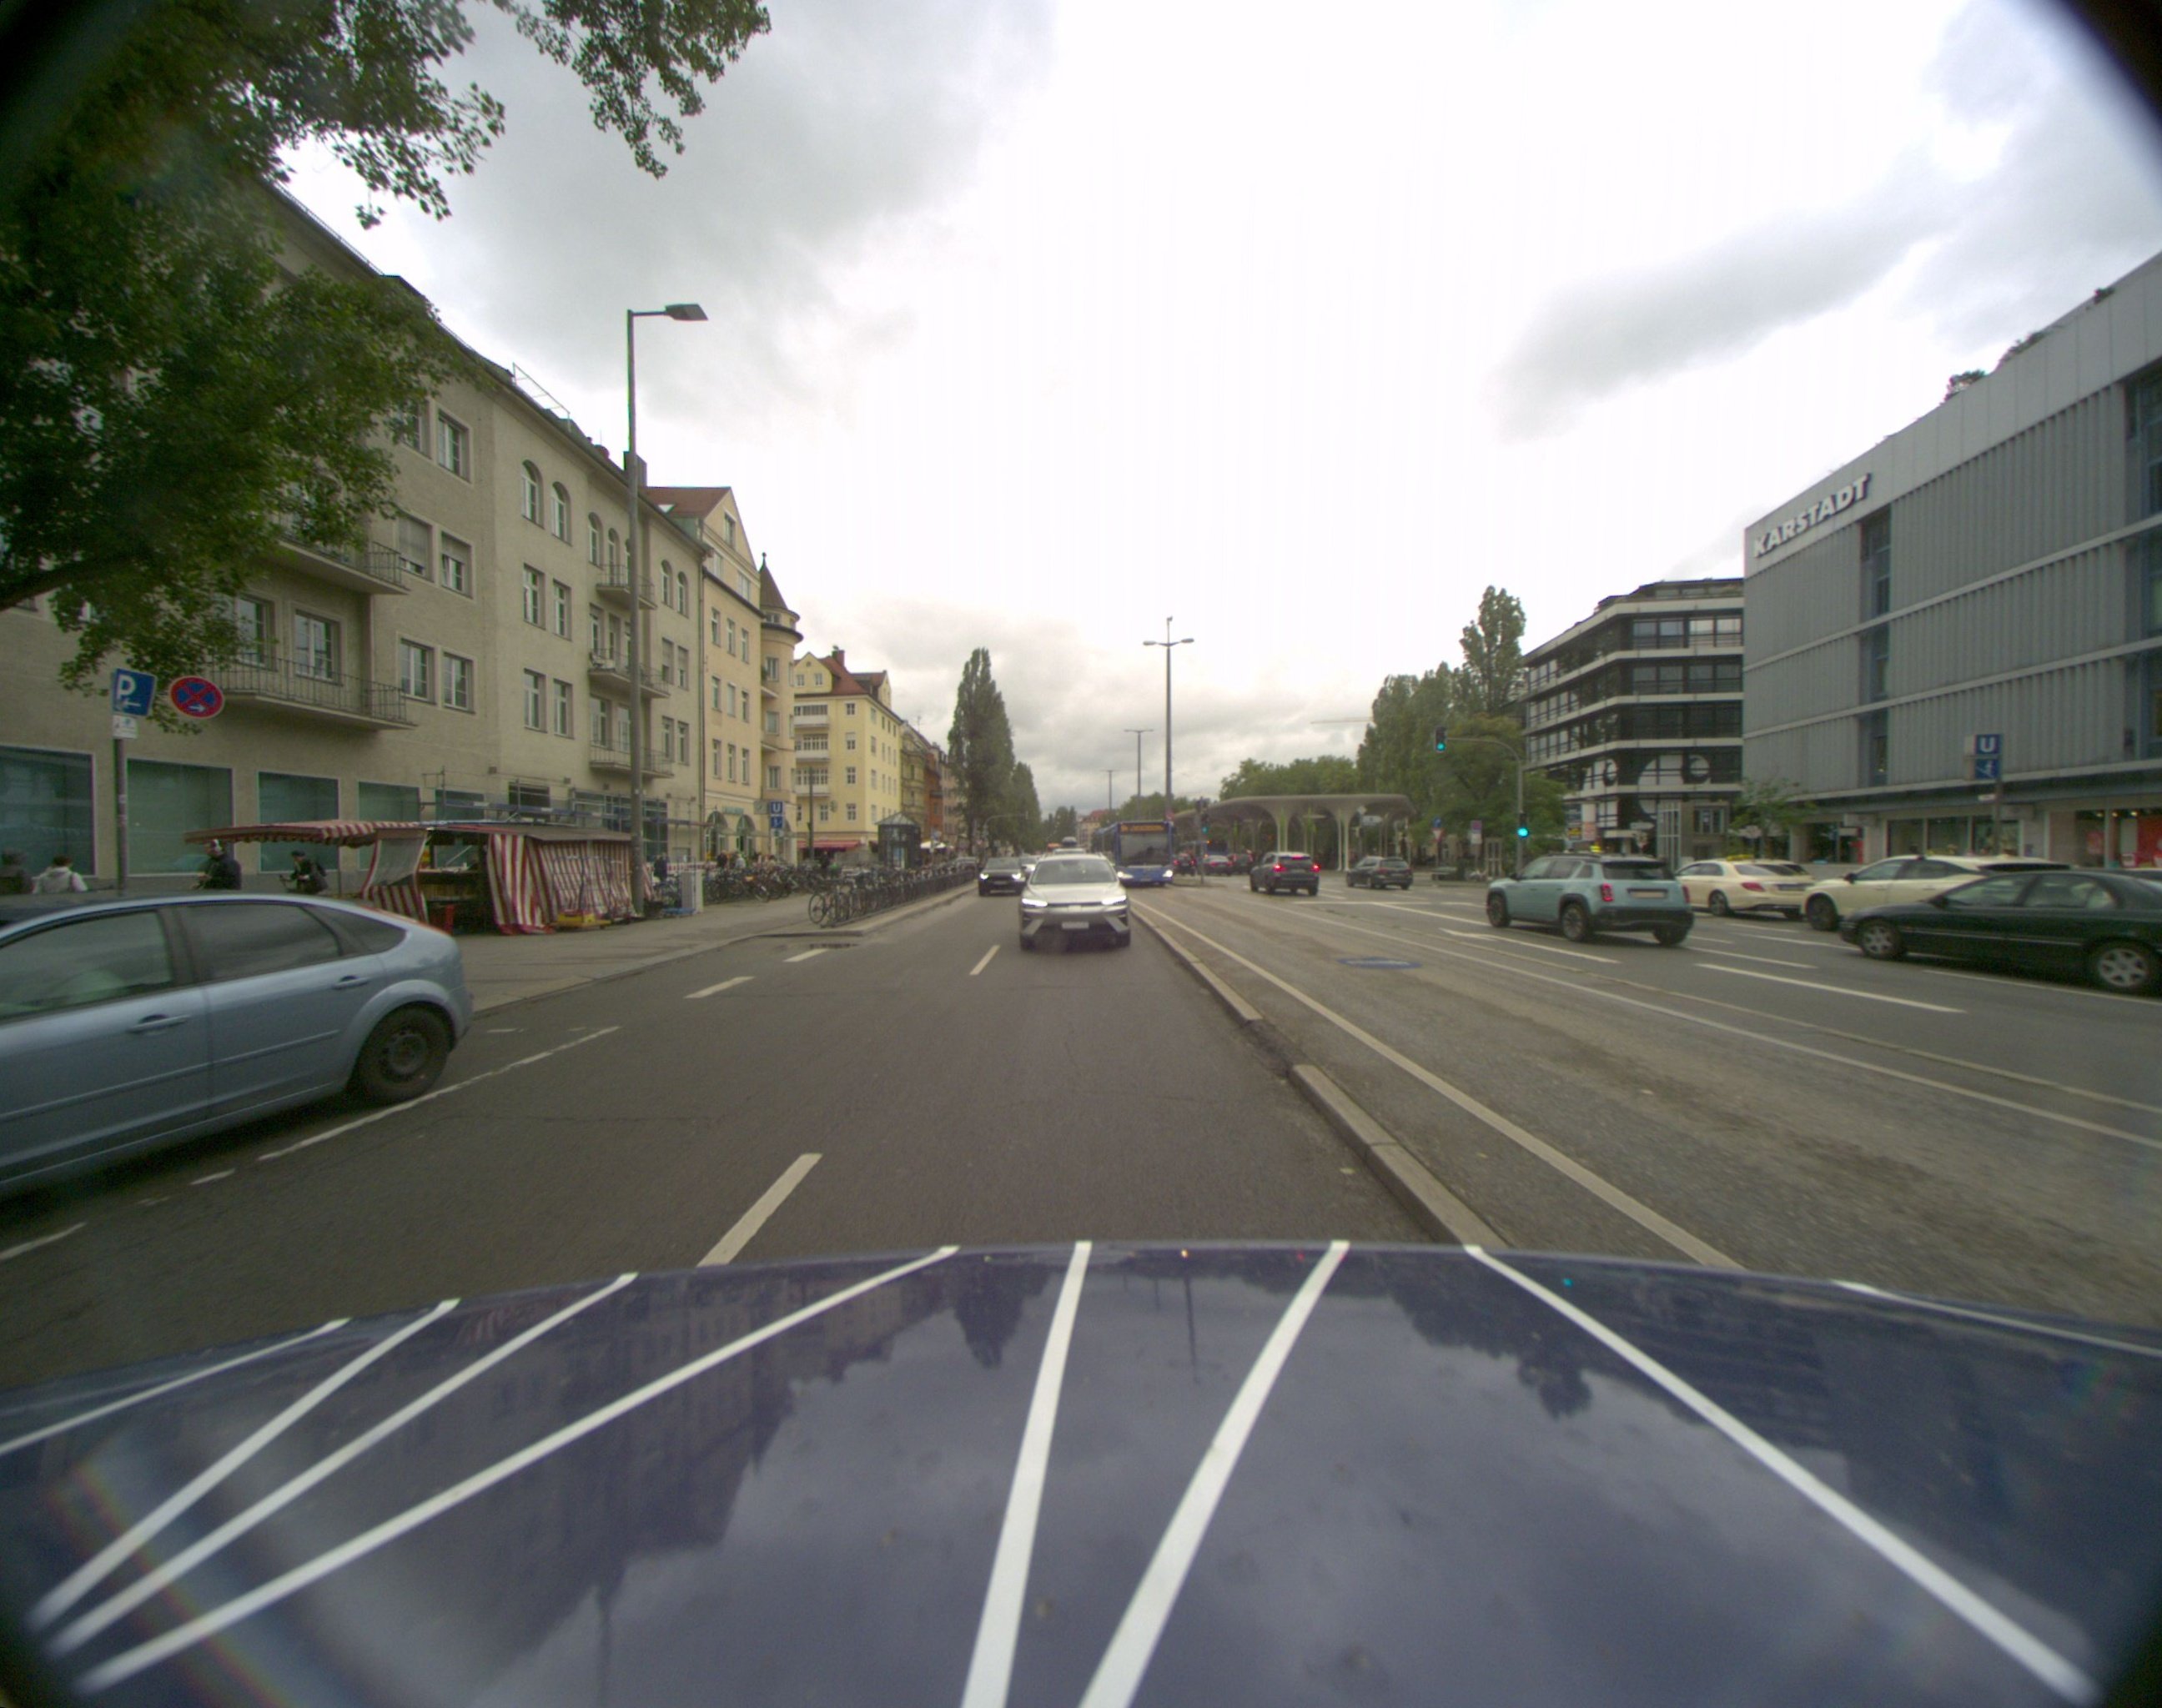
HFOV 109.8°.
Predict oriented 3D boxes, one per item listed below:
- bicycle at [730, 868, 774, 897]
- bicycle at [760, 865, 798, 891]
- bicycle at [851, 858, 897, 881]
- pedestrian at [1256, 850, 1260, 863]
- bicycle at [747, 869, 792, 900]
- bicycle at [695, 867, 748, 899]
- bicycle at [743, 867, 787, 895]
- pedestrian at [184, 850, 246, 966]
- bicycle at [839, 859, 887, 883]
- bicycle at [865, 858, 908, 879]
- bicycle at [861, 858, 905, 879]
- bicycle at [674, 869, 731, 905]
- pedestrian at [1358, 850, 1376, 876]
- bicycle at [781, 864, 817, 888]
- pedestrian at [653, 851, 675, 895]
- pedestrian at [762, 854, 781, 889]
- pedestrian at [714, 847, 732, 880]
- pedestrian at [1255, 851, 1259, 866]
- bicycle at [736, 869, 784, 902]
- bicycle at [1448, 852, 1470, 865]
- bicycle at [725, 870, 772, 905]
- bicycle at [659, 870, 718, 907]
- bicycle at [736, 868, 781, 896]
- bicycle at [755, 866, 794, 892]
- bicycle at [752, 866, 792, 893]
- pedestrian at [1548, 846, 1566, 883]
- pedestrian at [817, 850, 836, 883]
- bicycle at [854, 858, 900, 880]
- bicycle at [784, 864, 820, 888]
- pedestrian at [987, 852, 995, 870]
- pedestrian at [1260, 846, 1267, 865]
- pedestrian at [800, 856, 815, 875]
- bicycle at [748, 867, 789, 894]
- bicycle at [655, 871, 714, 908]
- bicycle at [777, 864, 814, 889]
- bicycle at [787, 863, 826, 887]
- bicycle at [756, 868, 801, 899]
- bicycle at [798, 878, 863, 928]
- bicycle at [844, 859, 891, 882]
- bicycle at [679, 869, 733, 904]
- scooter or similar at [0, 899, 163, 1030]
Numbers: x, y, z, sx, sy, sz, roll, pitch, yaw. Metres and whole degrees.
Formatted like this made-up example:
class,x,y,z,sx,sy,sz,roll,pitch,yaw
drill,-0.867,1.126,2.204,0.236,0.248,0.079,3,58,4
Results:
class,x,y,z,sx,sy,sz,roll,pitch,yaw
bicycle,-12.314,1.076,28.448,1.453,1.071,0.410,1,1,-10
bicycle,-12.703,1.026,31.975,1.453,1.071,0.410,1,1,-10
bicycle,-11.209,0.852,41.102,2.317,1.220,0.628,0,1,2
pedestrian,18.168,0.284,77.928,0.303,1.369,0.270,0,1,-3
bicycle,-10.964,1.075,26.786,1.451,1.071,0.410,1,1,7
bicycle,-12.575,1.014,26.595,1.634,1.097,0.410,1,1,-11
bicycle,-12.316,1.055,29.657,1.536,1.071,0.410,1,1,-9
pedestrian,-13.686,0.820,12.010,0.718,1.760,0.611,1,1,40
bicycle,-11.383,0.882,39.706,2.368,1.220,0.628,0,1,2
bicycle,-11.234,0.821,43.923,2.317,1.220,0.628,0,1,2
bicycle,-11.247,0.817,43.167,2.330,1.220,0.628,0,1,2
bicycle,-12.147,1.053,24.386,1.633,1.097,0.410,1,1,1
pedestrian,17.175,0.523,45.599,0.640,1.543,0.759,-3,2,-26
bicycle,-12.596,0.987,33.965,1.452,1.071,0.410,1,1,-6
pedestrian,-16.239,0.737,29.599,0.539,1.665,0.506,-1,2,37
pedestrian,-14.069,0.805,34.516,0.661,1.573,0.536,0,1,-6
pedestrian,-18.573,0.483,39.450,0.618,1.728,0.644,1,1,-2
pedestrian,18.114,0.439,78.241,0.335,1.493,0.317,0,1,-10
bicycle,-11.110,1.088,26.309,1.481,1.071,0.410,1,1,4
bicycle,31.679,0.378,63.682,0.473,1.091,1.671,-1,1,-25
bicycle,-10.791,1.073,24.666,1.471,1.071,0.410,1,1,14
bicycle,-12.248,1.069,23.699,1.633,1.097,0.410,1,1,1
bicycle,-12.330,1.066,29.059,1.536,1.071,0.410,1,1,-9
bicycle,-12.699,1.034,31.481,1.453,1.071,0.410,1,1,-10
bicycle,-12.562,1.041,30.869,1.453,1.071,0.410,1,1,-10
pedestrian,22.897,0.501,36.552,0.562,1.768,0.510,-2,2,2
pedestrian,-13.361,0.648,39.858,0.741,1.698,0.703,-1,1,-42
bicycle,-11.266,0.837,42.037,2.343,1.220,0.628,0,1,2
bicycle,-12.649,0.980,34.451,1.452,1.071,0.410,1,1,-6
pedestrian,-8.939,0.697,75.440,0.732,1.792,0.710,0,3,-10
pedestrian,17.855,0.163,74.353,0.666,1.840,0.789,0,1,19
pedestrian,-18.656,0.762,51.874,0.701,1.238,0.918,0,2,-2
bicycle,-12.444,1.047,30.311,1.453,1.071,0.410,1,1,-10
bicycle,-12.078,1.073,23.144,1.632,1.097,0.410,1,1,4
bicycle,-12.565,0.995,33.432,1.452,1.071,0.410,1,1,-6
bicycle,-12.667,0.969,35.082,1.650,1.071,0.410,1,1,2
bicycle,-10.934,1.062,27.460,1.453,1.071,0.410,1,1,-10
bicycle,-5.653,1.109,17.123,1.572,1.048,0.548,-4,-1,37
bicycle,-11.344,0.869,40.386,2.343,1.220,0.628,0,1,2
bicycle,-12.310,1.048,24.971,1.632,1.097,0.410,1,1,8
scooter or similar,-10.163,1.067,7.453,1.471,1.200,0.400,0,1,-19
